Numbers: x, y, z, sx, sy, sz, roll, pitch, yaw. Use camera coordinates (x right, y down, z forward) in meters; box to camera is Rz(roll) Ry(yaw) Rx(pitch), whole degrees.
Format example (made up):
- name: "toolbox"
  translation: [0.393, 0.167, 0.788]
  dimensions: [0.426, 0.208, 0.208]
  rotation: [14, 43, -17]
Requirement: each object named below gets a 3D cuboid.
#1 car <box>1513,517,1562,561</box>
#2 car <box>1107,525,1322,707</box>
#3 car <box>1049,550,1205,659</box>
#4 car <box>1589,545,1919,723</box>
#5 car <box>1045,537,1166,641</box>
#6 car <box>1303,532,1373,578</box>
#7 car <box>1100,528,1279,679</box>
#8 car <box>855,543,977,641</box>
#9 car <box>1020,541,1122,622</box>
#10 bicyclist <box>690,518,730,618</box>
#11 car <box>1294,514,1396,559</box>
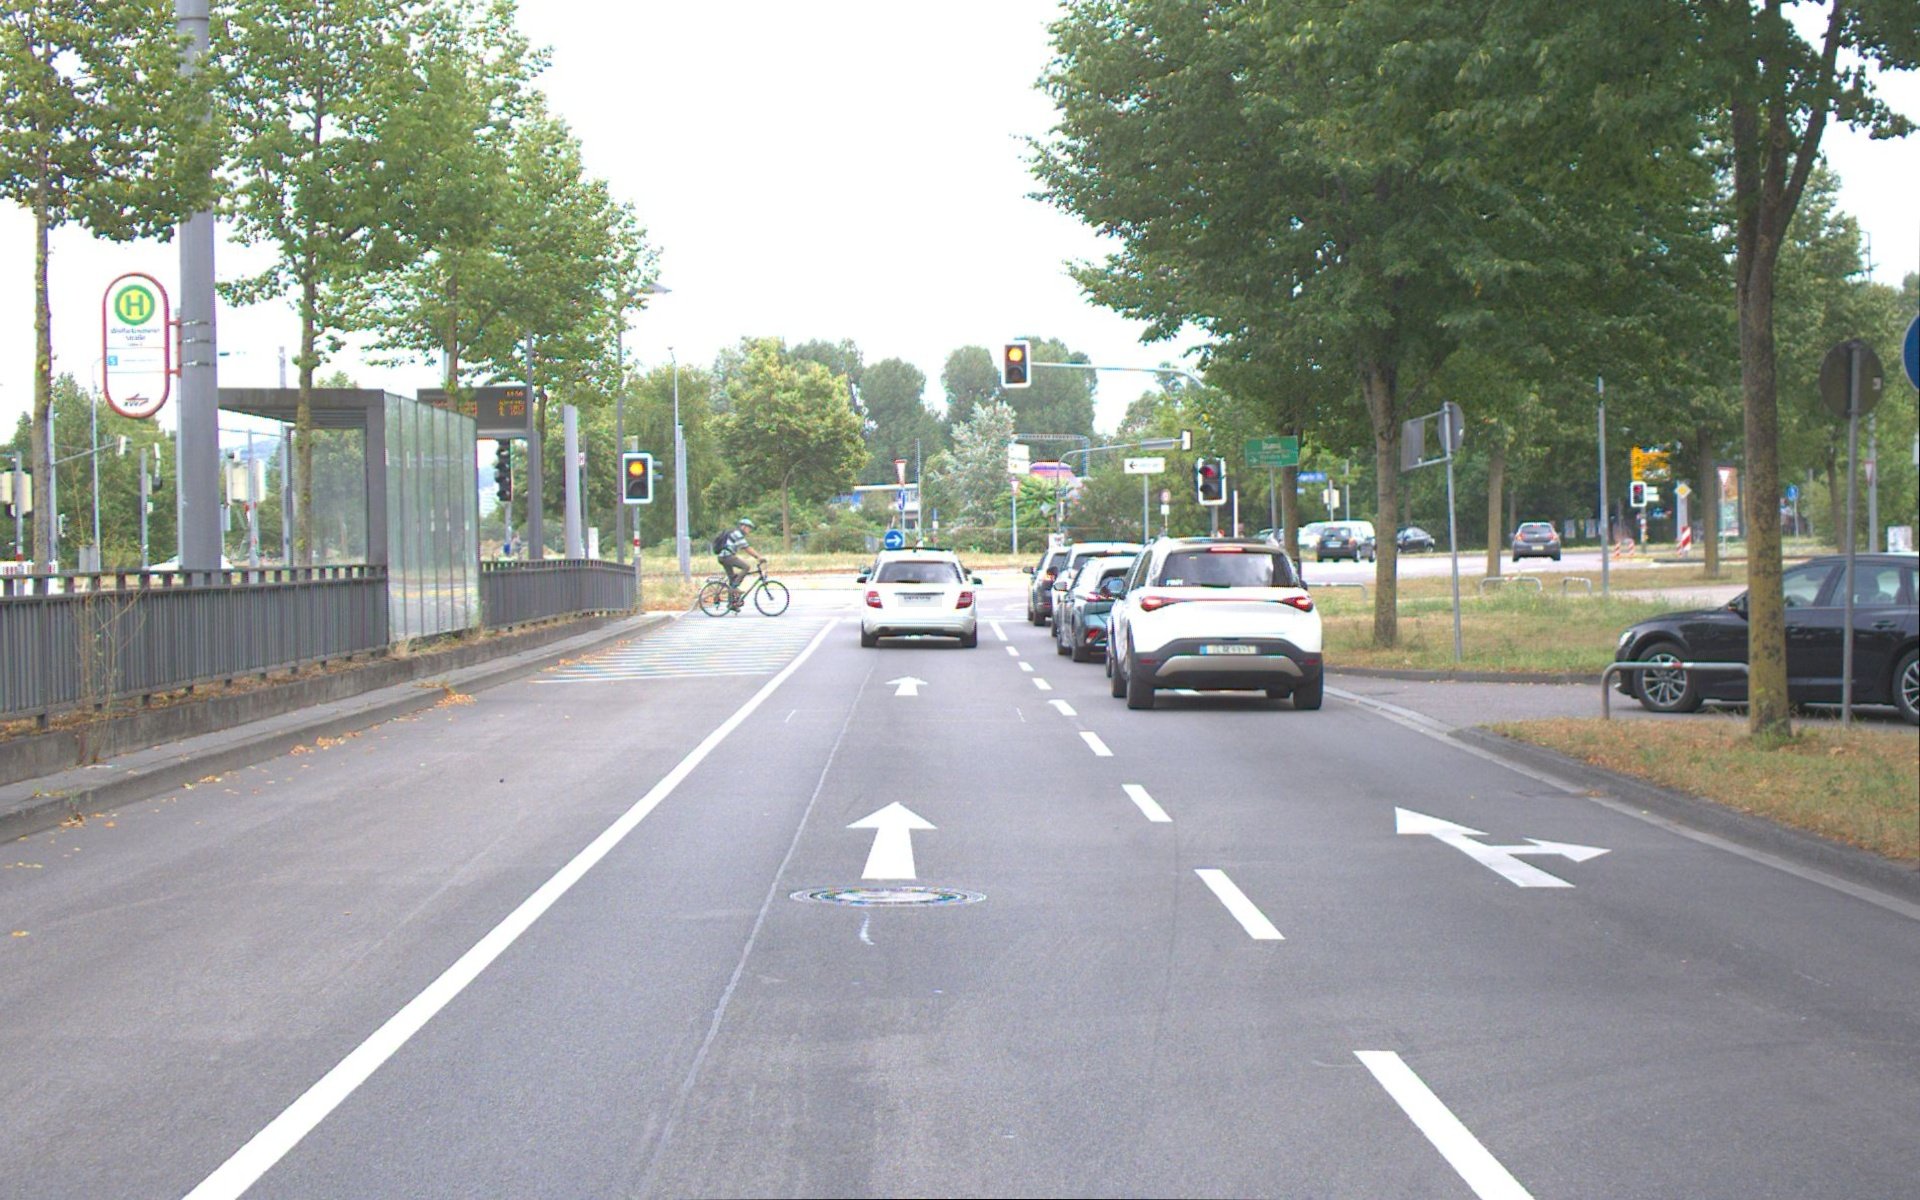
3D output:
- name: "car"
  translation: [22.148, -2.328, 131.833]
  dimensions: [1.784, 1.630, 4.400]
  rotation: [-1, 1, 9]
- name: "car"
  translation: [2.437, 0.108, 33.775]
  dimensions: [1.779, 1.651, 4.023]
  rotation: [-1, 1, 0]
- name: "car"
  translation: [2.293, 0.029, 48.184]
  dimensions: [1.787, 1.427, 4.311]
  rotation: [0, 1, -2]
- name: "car"
  translation: [8.010, 0.258, 30.319]
  dimensions: [1.941, 1.470, 4.870]
  rotation: [-2, 1, -35]
- name: "car"
  translation: [2.343, -0.207, 56.257]
  dimensions: [1.787, 1.619, 3.911]
  rotation: [-1, 1, 0]
- name: "car"
  translation: [15.051, -1.796, 136.979]
  dimensions: [1.993, 1.785, 4.001]
  rotation: [1, 1, -5]
- name: "car"
  translation: [2.622, 0.000, 40.098]
  dimensions: [1.779, 1.651, 4.023]
  rotation: [-1, 1, 0]
- name: "car"
  translation: [-0.713, -0.149, 52.994]
  dimensions: [1.773, 1.443, 3.911]
  rotation: [0, 1, -2]
- name: "car"
  translation: [2.039, -0.371, 64.081]
  dimensions: [1.624, 1.443, 3.911]
  rotation: [0, 1, -2]
- name: "bicyclist"
  translation: [-4.875, -0.629, 67.186]
  dimensions: [0.728, 1.878, 0.735]
  rotation: [-1, 8, -3]
- name: "car"
  translation: [17.828, -2.936, 159.018]
  dimensions: [1.999, 2.007, 4.987]
  rotation: [0, 2, 44]
